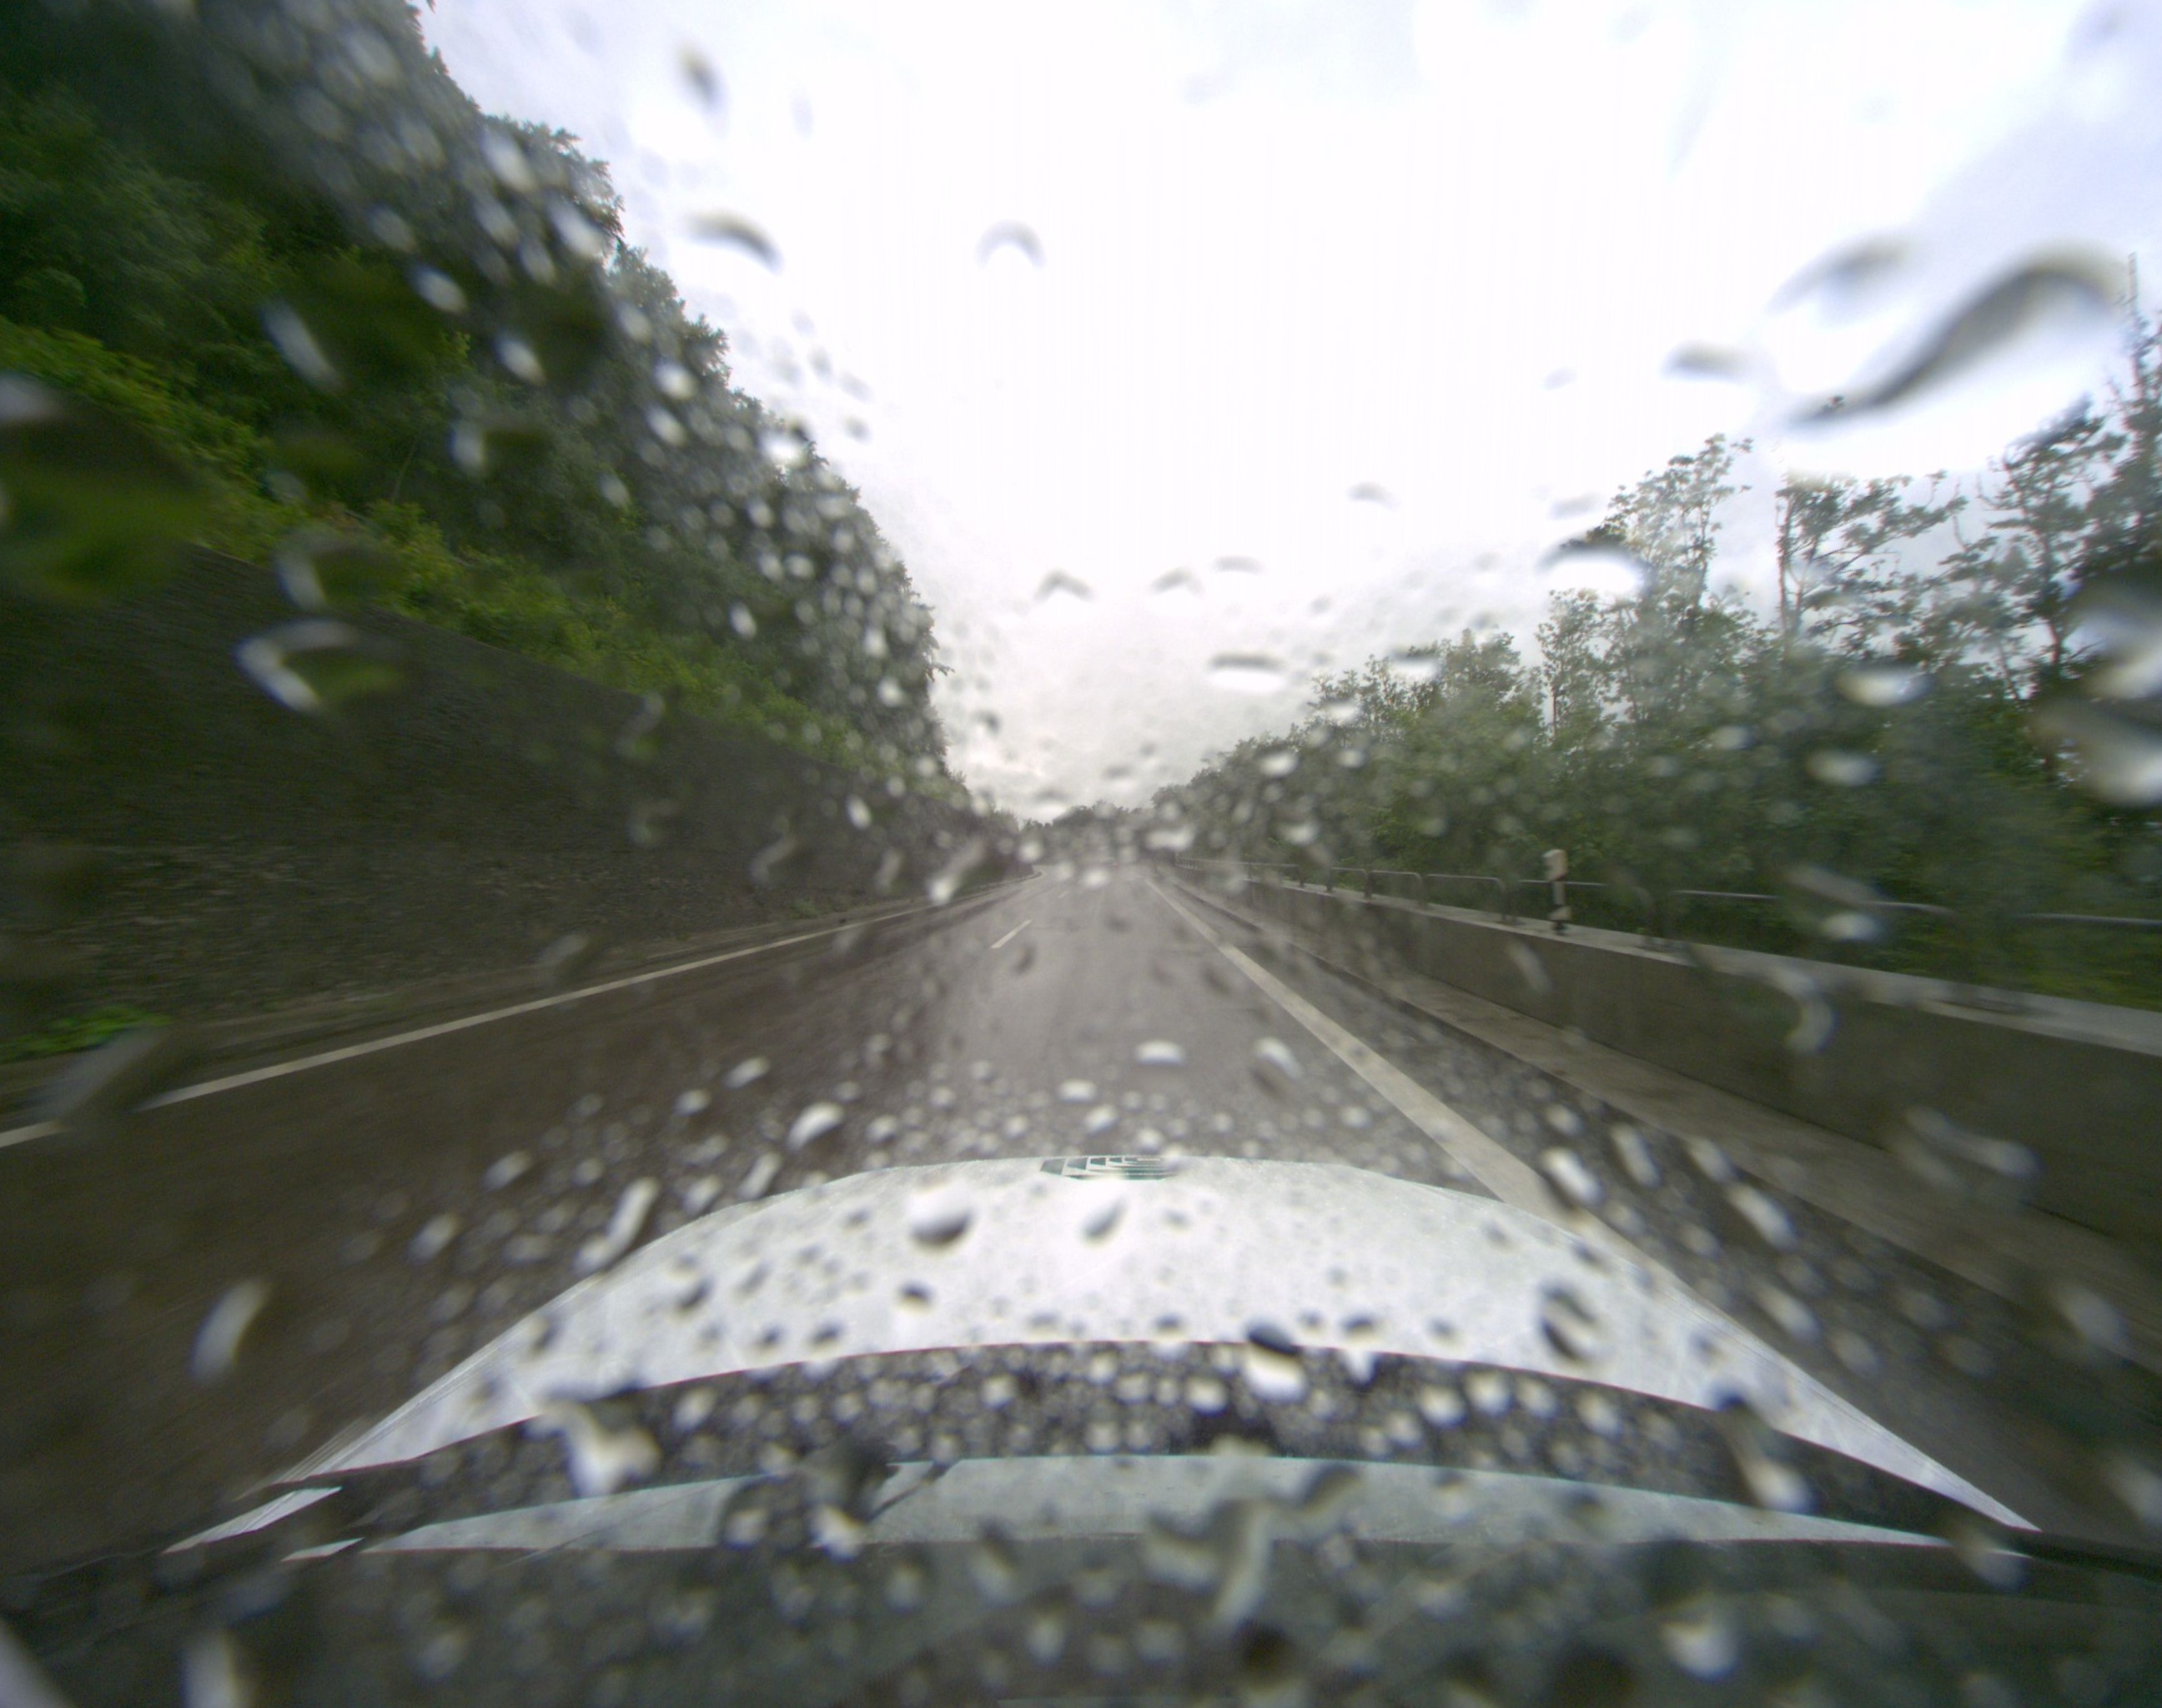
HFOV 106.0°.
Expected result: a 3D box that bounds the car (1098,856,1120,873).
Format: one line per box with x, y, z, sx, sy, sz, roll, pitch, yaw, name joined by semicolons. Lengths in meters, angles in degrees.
2.482;0.949;73.714;1.897;1.499;4.001;0;0;1;car
